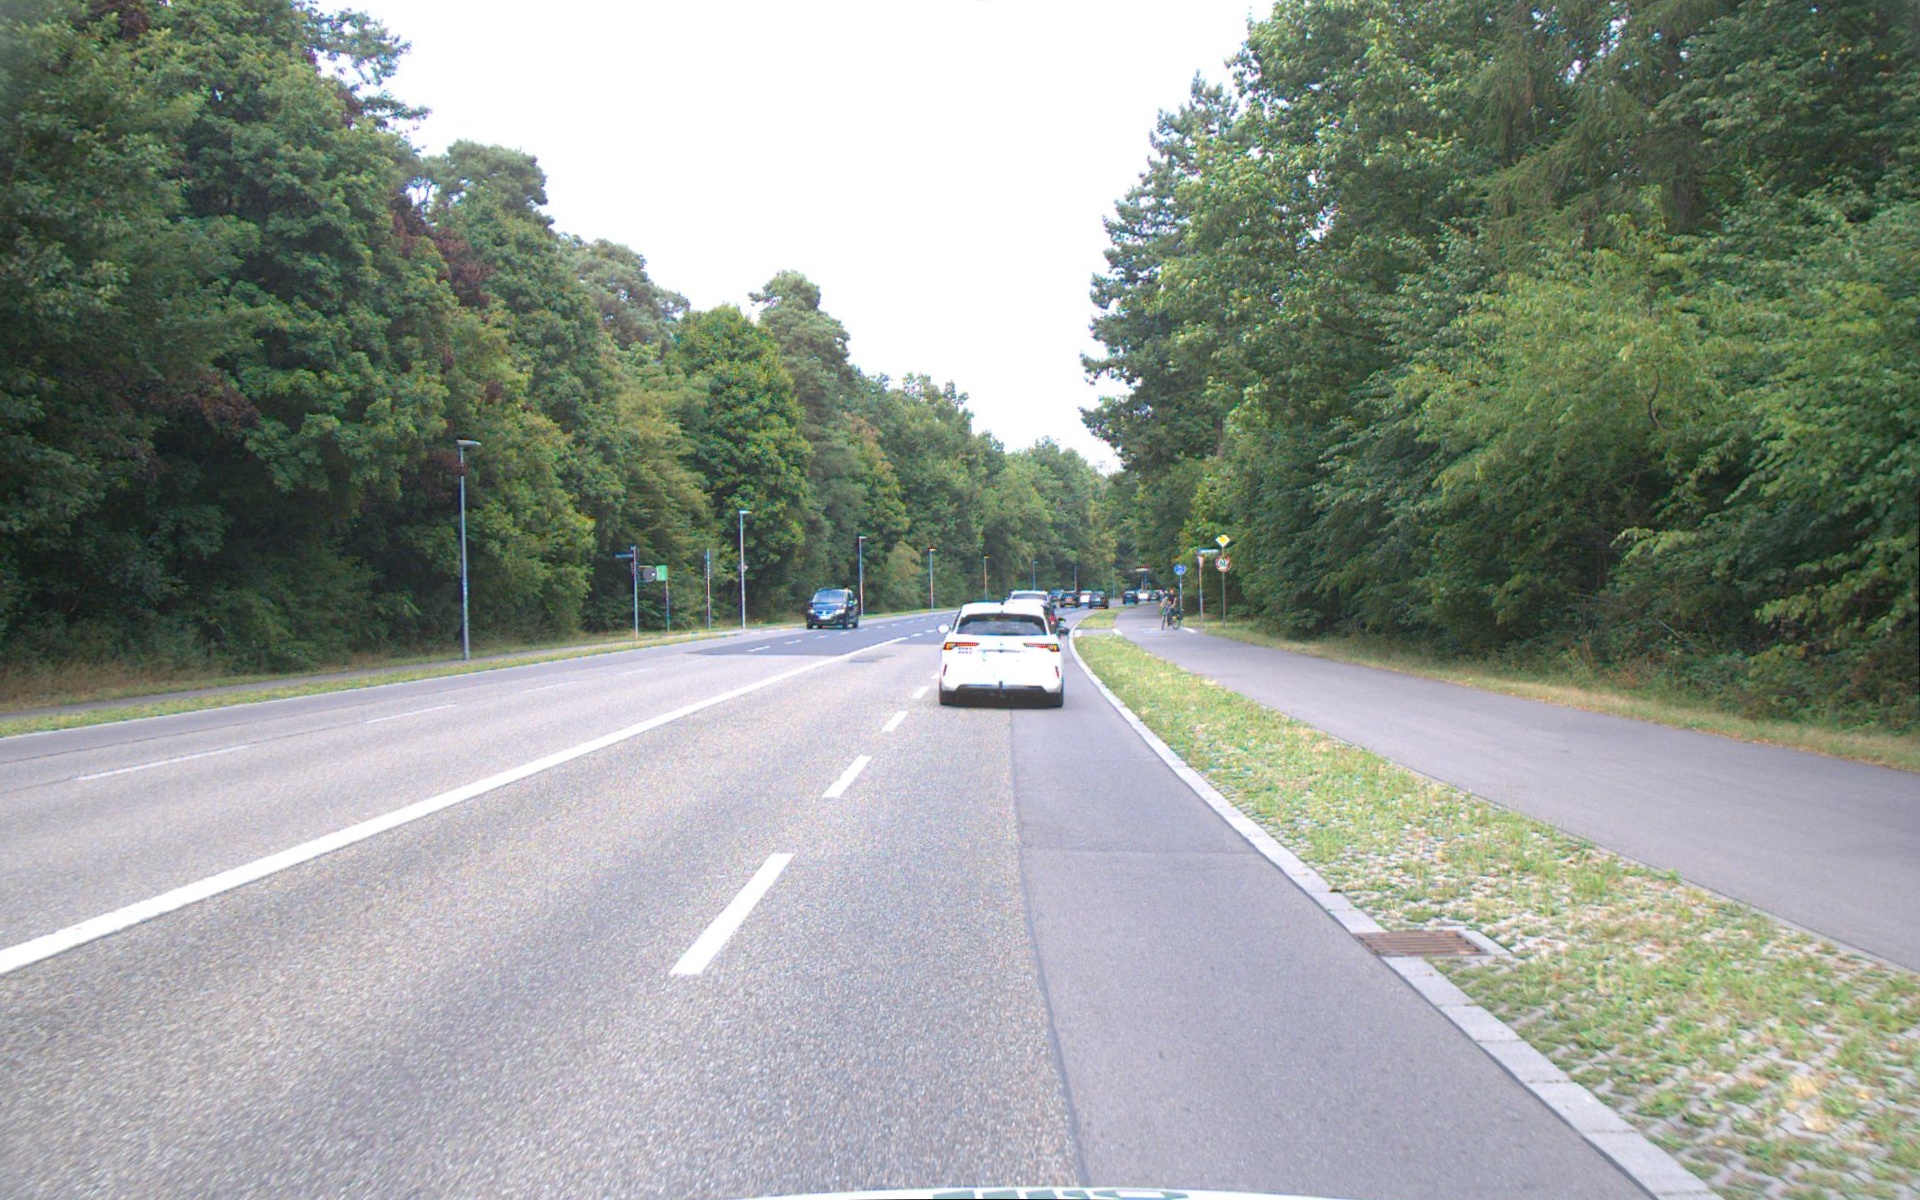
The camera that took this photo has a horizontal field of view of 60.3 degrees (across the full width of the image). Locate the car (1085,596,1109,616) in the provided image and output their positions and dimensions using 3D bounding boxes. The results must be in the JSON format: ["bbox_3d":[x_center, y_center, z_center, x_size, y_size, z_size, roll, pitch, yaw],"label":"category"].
[{"bbox_3d":[13.033,0.597,157.614,1.951,1.814,4.003,2,-1,9],"label":"car"}]

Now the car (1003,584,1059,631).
[{"bbox_3d":[2.622,0.293,61.871,1.952,1.635,4.000,2,-1,1],"label":"car"}]

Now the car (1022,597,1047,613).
[{"bbox_3d":[7.285,0.466,162.005,1.951,1.460,4.724,1,-1,8],"label":"car"}]

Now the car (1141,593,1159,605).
[{"bbox_3d":[26.931,-0.144,234.407,1.951,1.736,4.003,0,0,14],"label":"car"}]

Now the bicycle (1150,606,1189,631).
[{"bbox_3d":[8.743,0.775,68.940,0.696,1.011,2.175,0,0,33],"label":"bicycle"}]

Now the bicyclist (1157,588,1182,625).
[{"bbox_3d":[8.734,0.270,68.932,0.698,1.496,0.897,0,0,39],"label":"bicyclist"}]

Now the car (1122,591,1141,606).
[{"bbox_3d":[21.193,-0.187,204.263,1.951,1.814,4.003,2,-1,11],"label":"car"}]

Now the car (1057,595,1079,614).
[{"bbox_3d":[10.723,0.466,163.992,1.951,1.814,4.003,2,-1,7],"label":"car"}]

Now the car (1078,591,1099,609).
[{"bbox_3d":[14.123,-0.025,181.715,1.951,1.814,4.003,2,-1,10],"label":"car"}]

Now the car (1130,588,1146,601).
[{"bbox_3d":[26.680,-0.832,248.097,1.848,1.847,4.003,2,-1,12],"label":"car"}]

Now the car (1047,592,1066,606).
[{"bbox_3d":[12.168,-0.090,208.928,1.951,1.645,4.667,2,-1,8],"label":"car"}]

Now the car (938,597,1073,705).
[{"bbox_3d":[0.647,0.695,24.287,1.798,1.435,4.491,0,0,1],"label":"car"}]

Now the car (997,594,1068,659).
[{"bbox_3d":[1.807,0.648,40.437,1.601,1.445,4.002,2,-1,4],"label":"car"}]

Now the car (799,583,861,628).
[{"bbox_3d":[-5.623,0.268,72.006,1.952,1.822,4.749,2,-1,4],"label":"car"}]
